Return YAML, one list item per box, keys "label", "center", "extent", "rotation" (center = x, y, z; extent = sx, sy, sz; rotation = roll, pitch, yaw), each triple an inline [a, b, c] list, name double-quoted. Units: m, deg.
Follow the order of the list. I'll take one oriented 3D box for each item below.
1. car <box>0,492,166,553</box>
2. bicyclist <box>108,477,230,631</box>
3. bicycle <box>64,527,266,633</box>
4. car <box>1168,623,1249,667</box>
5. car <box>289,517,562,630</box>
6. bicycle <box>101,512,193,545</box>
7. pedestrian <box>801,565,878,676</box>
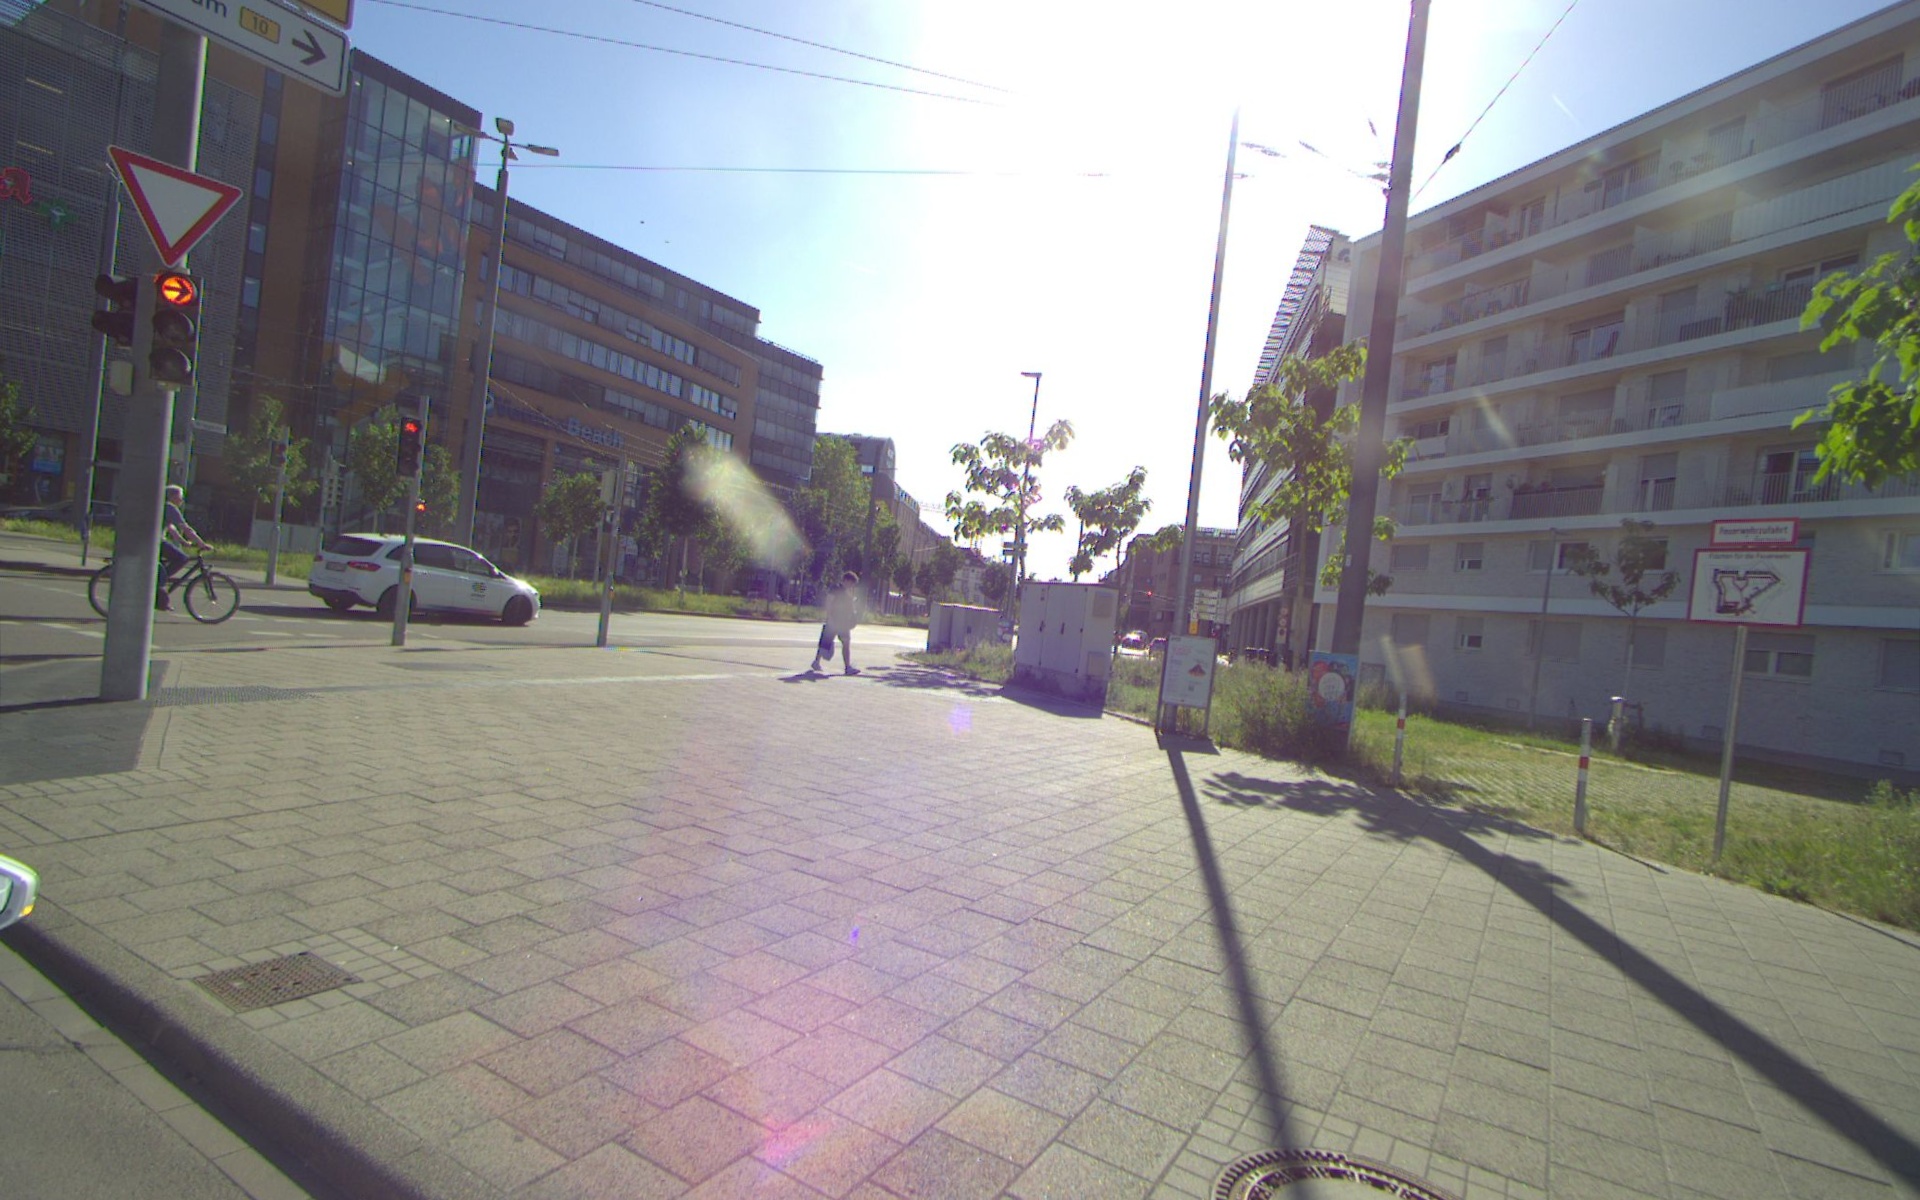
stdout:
- label: "car"
  center: [-31.846, -2.788, 36.467]
  extent: [1.470, 1.513, 4.493]
  rotation: [7, -1, 32]
- label: "bicyclist"
  center: [-10.462, -0.594, 13.319]
  extent: [0.840, 1.882, 0.903]
  rotation: [7, 0, 32]
- label: "bicycle"
  center: [-10.486, -0.242, 13.336]
  extent: [0.839, 1.129, 1.832]
  rotation: [7, -2, 32]
- label: "car"
  center: [14.285, 2.570, 58.059]
  extent: [3.929, 2.038, 1.999]
  rotation: [7, 0, -5]
- label: "car"
  center: [-10.367, -0.424, 19.929]
  extent: [1.806, 1.654, 4.502]
  rotation: [8, 0, 24]
- label: "bicycle"
  center: [-40.909, -3.568, 50.658]
  extent: [1.100, 1.090, 3.361]
  rotation: [7, -1, 38]
- label: "pedestrian"
  center: [-1.986, 0.353, 16.681]
  extent: [0.749, 1.729, 0.807]
  rotation: [7, 0, 31]
